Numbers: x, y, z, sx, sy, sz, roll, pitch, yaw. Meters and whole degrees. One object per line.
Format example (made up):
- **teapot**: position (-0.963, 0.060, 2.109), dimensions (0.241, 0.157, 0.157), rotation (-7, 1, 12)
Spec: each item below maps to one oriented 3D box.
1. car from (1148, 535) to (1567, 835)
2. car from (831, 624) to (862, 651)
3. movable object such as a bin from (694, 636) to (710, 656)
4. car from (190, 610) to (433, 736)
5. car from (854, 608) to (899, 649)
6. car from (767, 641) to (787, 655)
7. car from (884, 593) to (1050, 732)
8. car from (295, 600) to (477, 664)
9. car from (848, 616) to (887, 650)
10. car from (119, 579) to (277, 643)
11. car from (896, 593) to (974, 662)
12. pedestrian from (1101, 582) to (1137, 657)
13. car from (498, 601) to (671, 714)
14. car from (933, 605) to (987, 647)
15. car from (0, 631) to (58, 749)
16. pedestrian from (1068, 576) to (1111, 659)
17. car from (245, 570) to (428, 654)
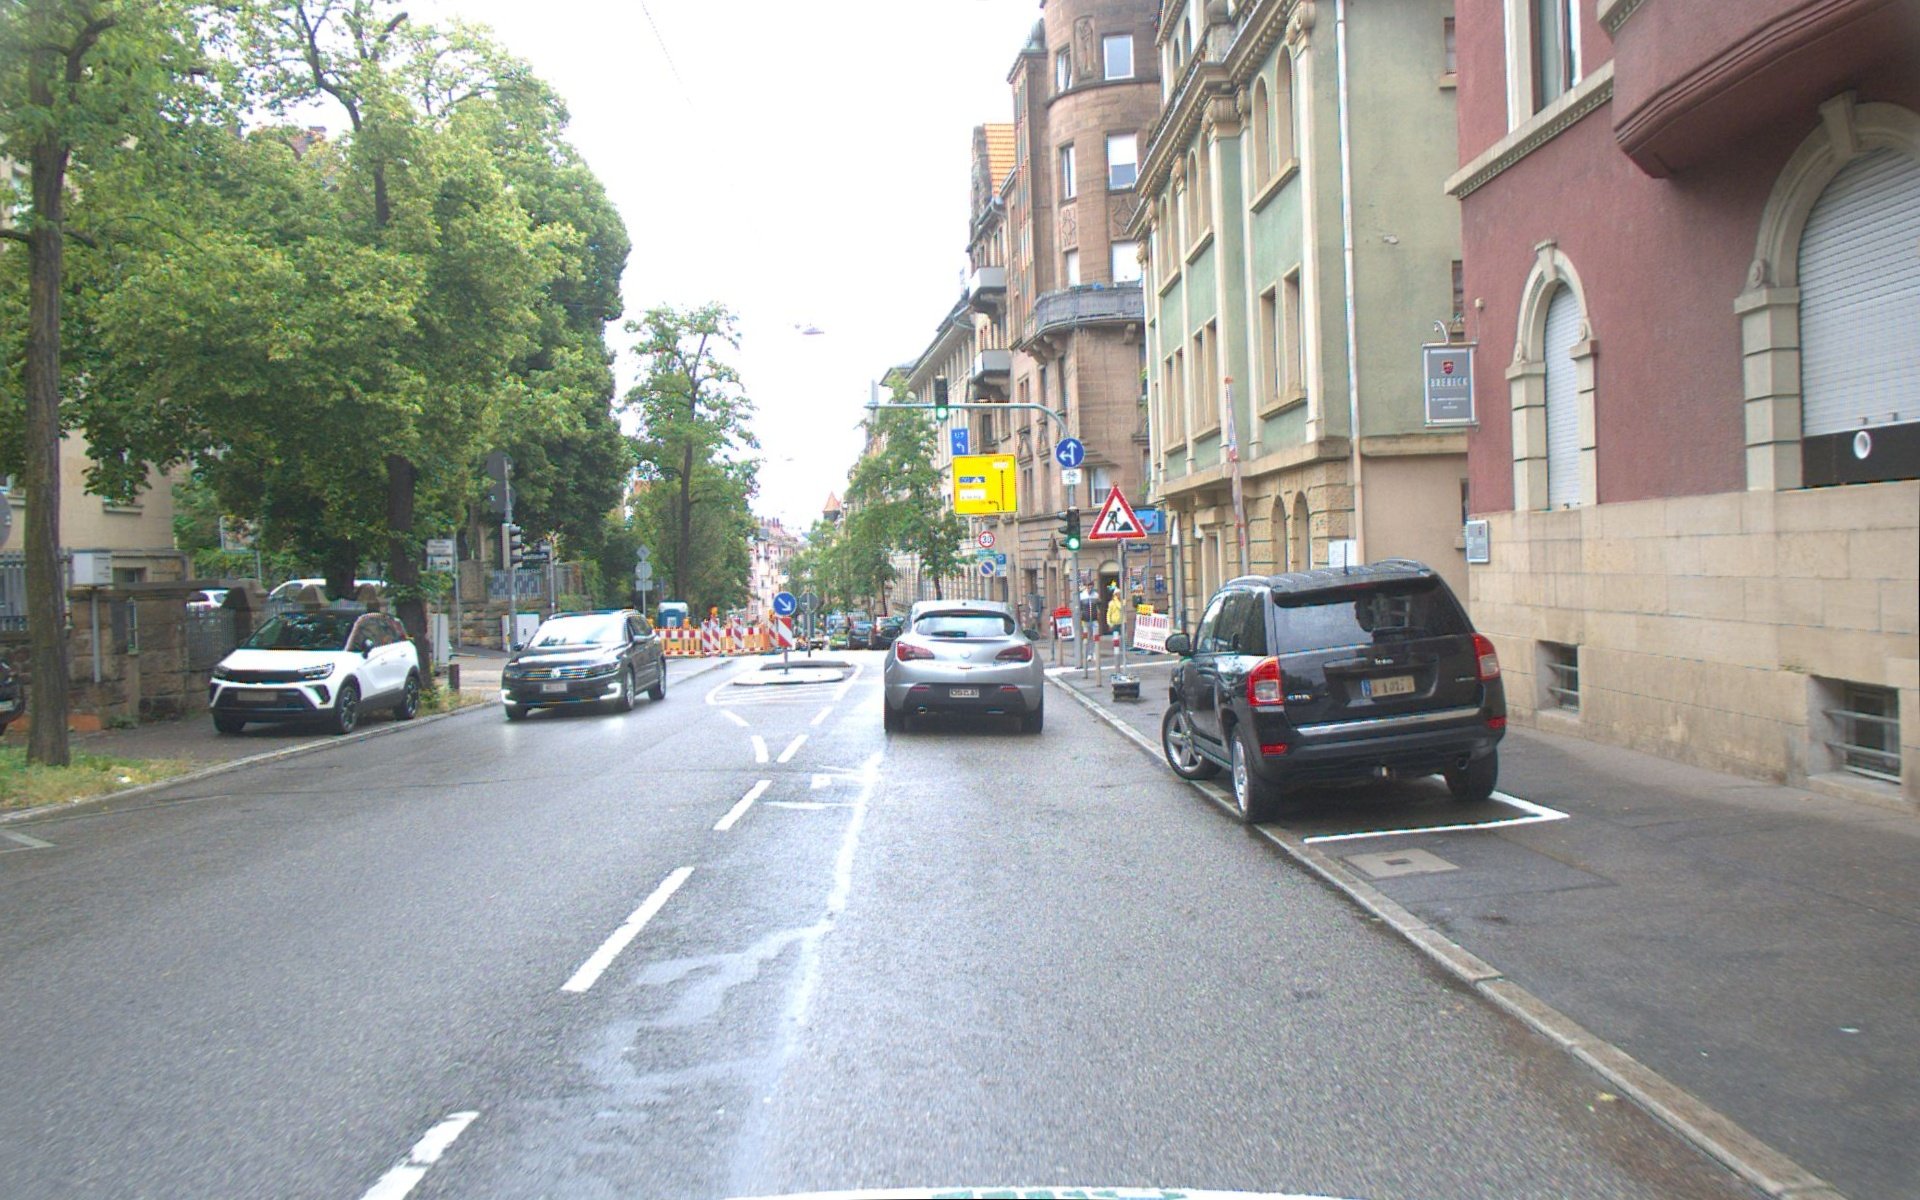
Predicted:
- **car**: position (2.663, 0.557, 12.322), dimensions (1.839, 1.658, 4.696), rotation (-5, -1, -1)
- **car**: position (-7.241, 2.422, 105.275), dimensions (1.626, 1.570, 3.658), rotation (-4, -1, -8)
- **movable object such as a bin**: position (-16.442, 2.913, 105.348), dimensions (0.926, 1.235, 0.855), rotation (0, -2, -6)
- **car**: position (-8.903, 0.969, 23.119), dimensions (1.706, 1.586, 4.301), rotation (0, -1, 0)
- **car**: position (-3.535, 1.208, 69.518), dimensions (1.625, 1.570, 3.660), rotation (-4, -1, -6)
- **car**: position (-20.629, 5.421, 186.512), dimensions (1.957, 1.527, 3.990), rotation (-1, -2, -10)
- **car**: position (0.084, 0.707, 19.716), dimensions (1.774, 1.475, 3.868), rotation (-1, -1, 0)
- **car**: position (-14.212, 0.807, 41.051), dimensions (3.781, 1.434, 1.827), rotation (2, -3, 4)
- **car**: position (-4.772, 1.698, 84.940), dimensions (1.626, 1.570, 3.658), rotation (-4, -1, -8)
- **car**: position (-23.205, 0.293, 50.375), dimensions (4.344, 1.540, 2.112), rotation (5, 4, 27)
- **car**: position (-0.571, 0.661, 38.846), dimensions (1.736, 1.531, 3.868), rotation (0, -1, 0)
- **pedestrian**: position (3.558, 0.433, 36.976), dimensions (0.584, 1.612, 0.666), rotation (-4, 0, 17)
- **car**: position (-5.601, 0.818, 25.198), dimensions (1.779, 1.544, 4.545), rotation (0, 0, -3)
- **car**: position (-0.030, 1.085, 67.398), dimensions (1.626, 1.570, 3.658), rotation (-4, -1, -8)
- **car**: position (-13.241, 1.135, 19.714), dimensions (3.907, 1.350, 1.836), rotation (-2, 0, -2)
- **pedestrian**: position (2.910, 0.385, 37.164), dimensions (0.703, 1.805, 0.666), rotation (-4, 0, 19)
- **car**: position (-18.209, 0.313, 48.382), dimensions (4.564, 2.083, 2.027), rotation (4, 1, 14)
